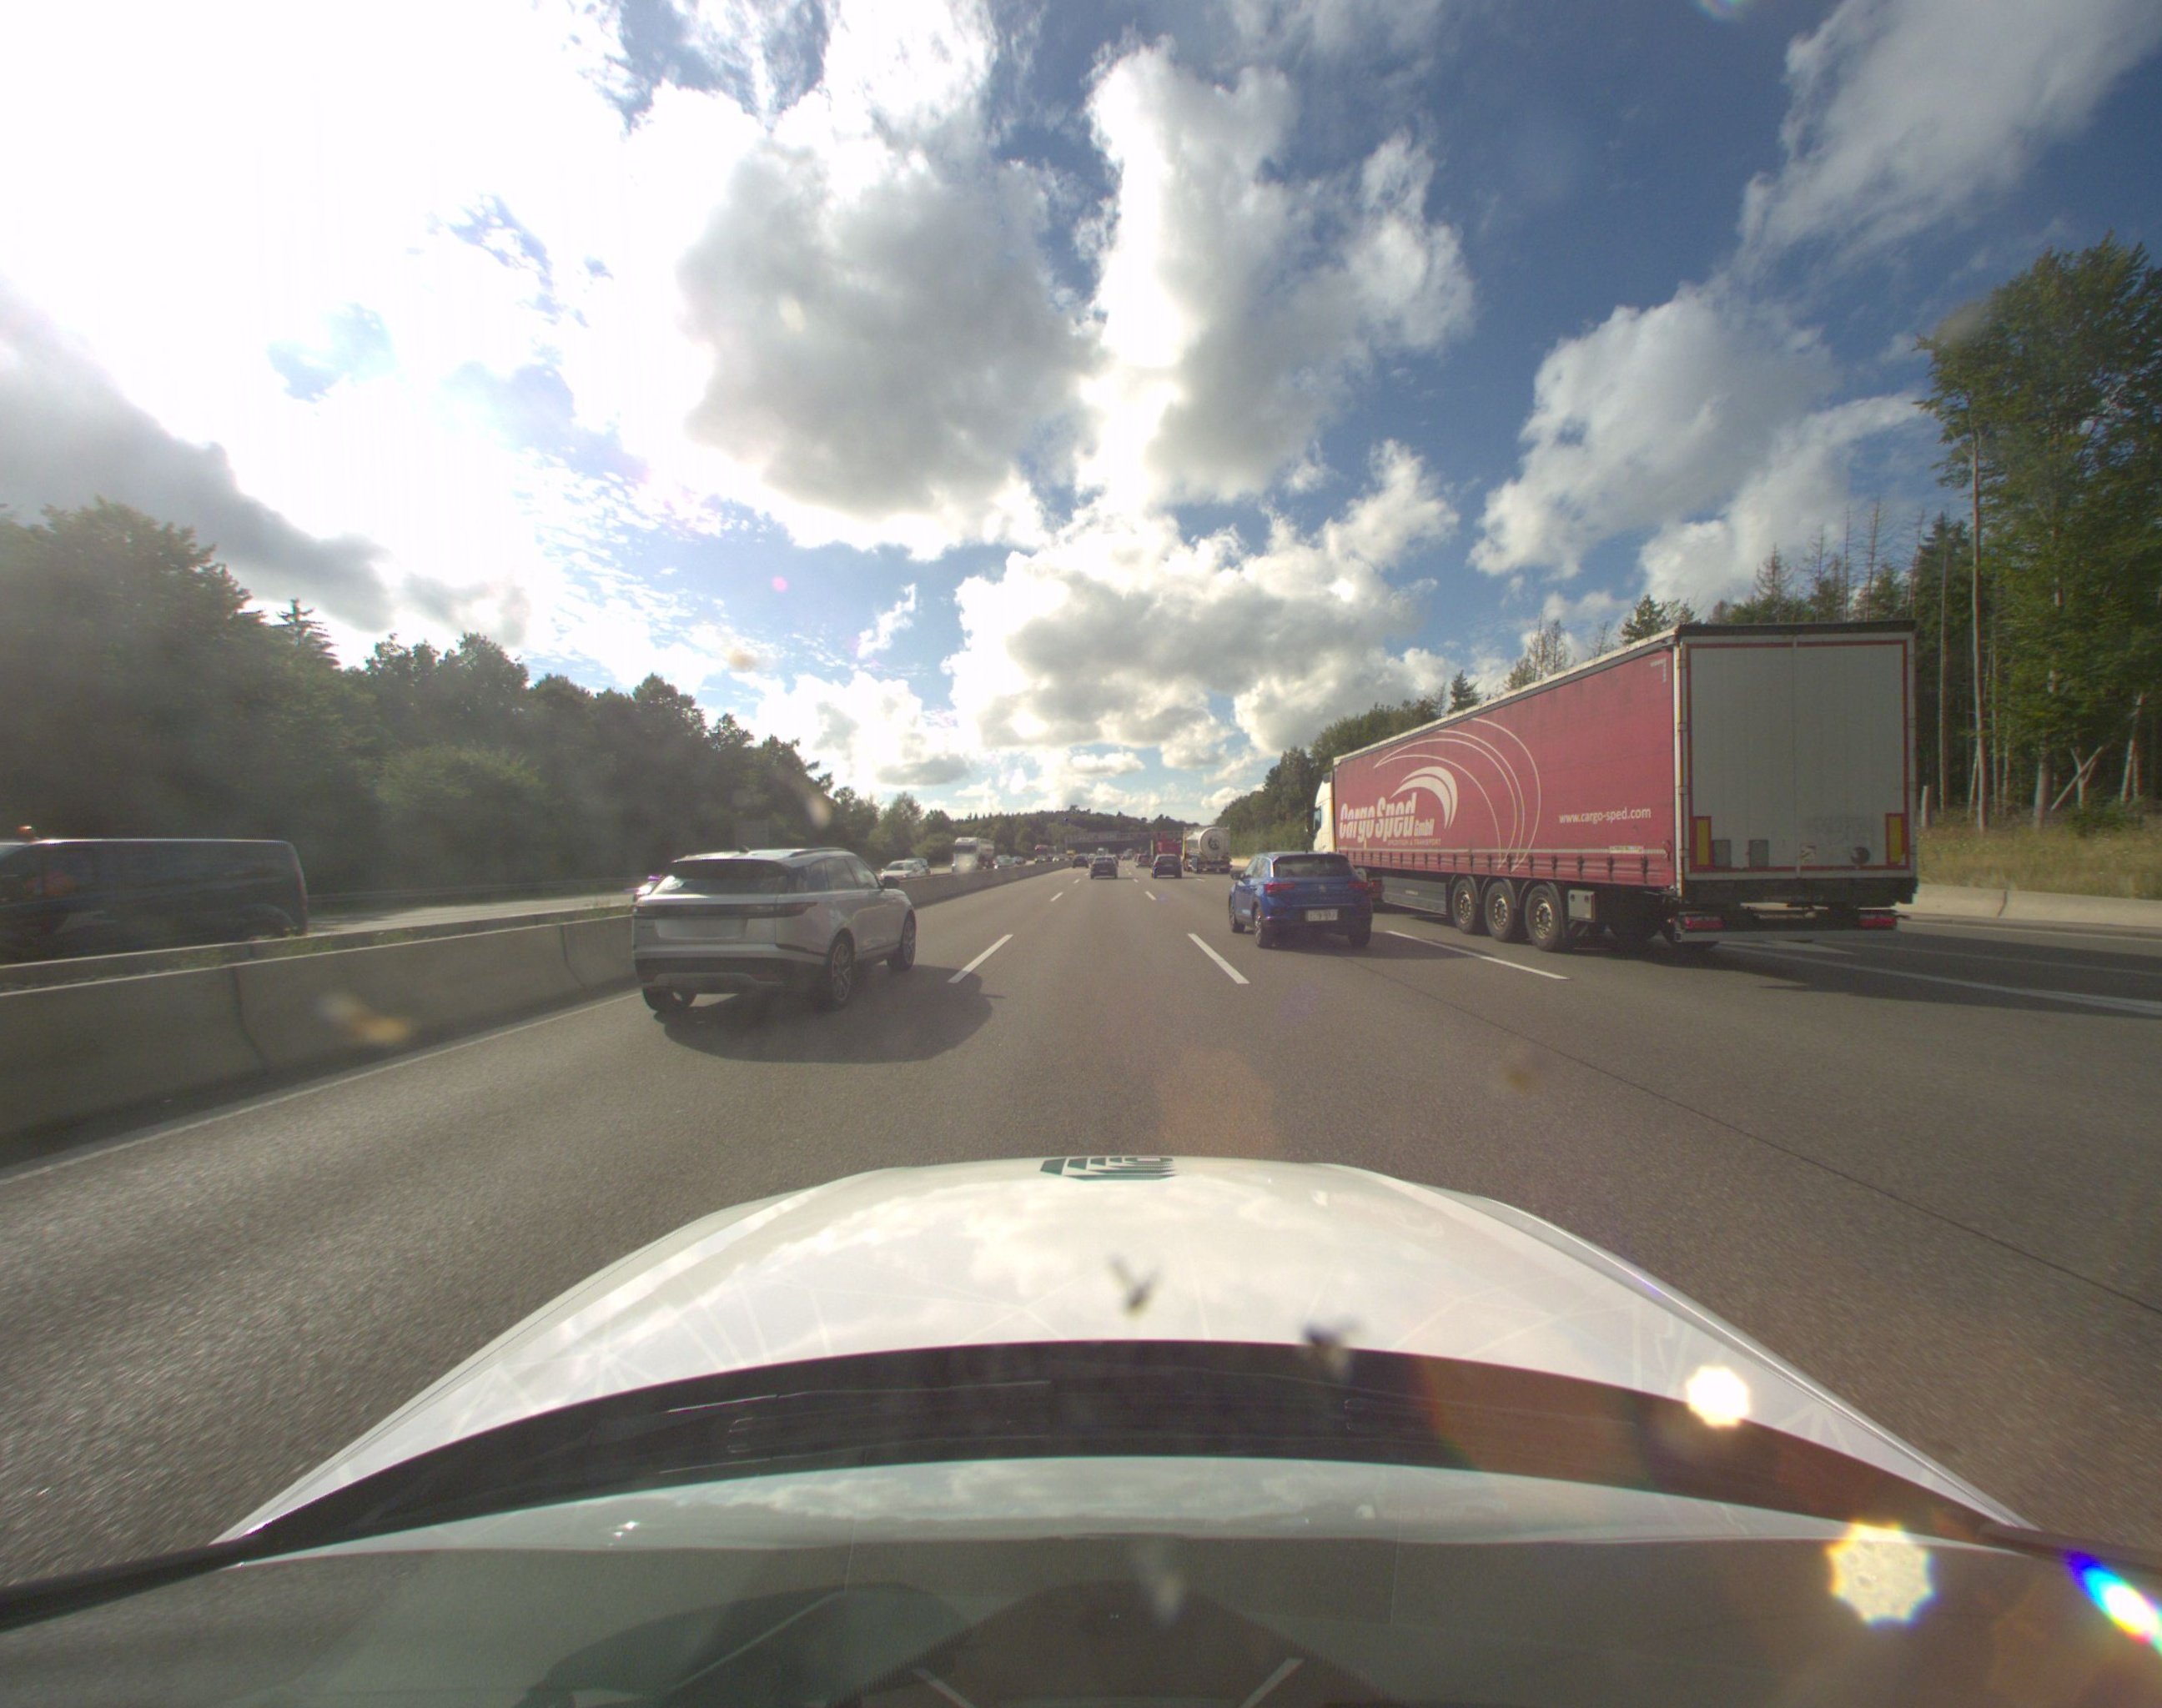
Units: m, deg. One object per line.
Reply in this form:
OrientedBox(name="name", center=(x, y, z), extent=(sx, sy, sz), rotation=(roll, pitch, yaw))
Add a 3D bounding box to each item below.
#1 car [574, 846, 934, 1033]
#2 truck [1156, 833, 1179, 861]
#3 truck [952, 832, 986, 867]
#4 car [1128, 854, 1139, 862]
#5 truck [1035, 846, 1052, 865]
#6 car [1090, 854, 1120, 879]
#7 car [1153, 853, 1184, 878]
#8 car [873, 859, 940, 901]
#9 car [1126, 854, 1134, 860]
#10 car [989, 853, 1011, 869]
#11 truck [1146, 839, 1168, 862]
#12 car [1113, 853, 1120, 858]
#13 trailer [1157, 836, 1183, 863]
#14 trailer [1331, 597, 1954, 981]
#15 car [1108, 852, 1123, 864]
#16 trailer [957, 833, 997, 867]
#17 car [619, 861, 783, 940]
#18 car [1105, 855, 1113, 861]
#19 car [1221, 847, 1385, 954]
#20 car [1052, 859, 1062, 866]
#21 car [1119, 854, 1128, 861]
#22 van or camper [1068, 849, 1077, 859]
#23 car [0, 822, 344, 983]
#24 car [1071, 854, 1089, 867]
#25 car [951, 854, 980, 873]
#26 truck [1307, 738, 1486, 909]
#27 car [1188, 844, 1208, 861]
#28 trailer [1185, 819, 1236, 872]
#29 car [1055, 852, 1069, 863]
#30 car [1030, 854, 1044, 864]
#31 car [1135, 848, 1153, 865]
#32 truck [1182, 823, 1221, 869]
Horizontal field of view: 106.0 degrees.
OrientedBox(name="car", center=(-3.333, 0.740, 9.749), extent=(1.999, 1.616, 5.303), rotation=(-1, 0, 2))
OrientedBox(name="truck", center=(11.763, -0.996, 111.182), extent=(2.699, 3.718, 5.822), rotation=(-1, 1, 3))
OrientedBox(name="truck", center=(-13.435, -0.525, 98.271), extent=(2.776, 3.945, 6.450), rotation=(-1, 0, 3))
OrientedBox(name="car", center=(10.887, 0.787, 169.505), extent=(1.935, 1.457, 4.001), rotation=(-2, 0, 1))
OrientedBox(name="truck", center=(-8.261, 0.321, 179.437), extent=(2.954, 3.858, 6.772), rotation=(-1, 0, 4))
OrientedBox(name="car", center=(1.565, 0.798, 52.867), extent=(1.815, 1.546, 4.001), rotation=(-1, 0, 2))
OrientedBox(name="car", center=(5.558, 0.705, 52.088), extent=(1.814, 1.457, 4.005), rotation=(-2, 0, 4))
OrientedBox(name="car", center=(-8.883, 1.277, 41.885), extent=(2.163, 1.878, 4.983), rotation=(-2, 0, 2))
OrientedBox(name="car", center=(13.542, 0.809, 225.853), extent=(2.069, 1.457, 4.001), rotation=(-2, 0, 1))
OrientedBox(name="car", center=(-9.421, 0.760, 95.059), extent=(1.848, 1.670, 5.214), rotation=(-2, 0, 2))
OrientedBox(name="truck", center=(13.456, -0.621, 144.353), extent=(3.106, 3.935, 10.416), rotation=(-2, 0, 2))
OrientedBox(name="car", center=(10.356, 0.440, 239.218), extent=(1.922, 1.457, 4.393), rotation=(-2, 0, 1))
OrientedBox(name="trailer", center=(11.538, -0.623, 106.550), extent=(2.699, 3.231, 9.740), rotation=(-1, 1, 3))
OrientedBox(name="trailer", center=(8.090, -0.707, 15.548), extent=(2.763, 4.045, 13.719), rotation=(-1, 0, 2))
OrientedBox(name="car", center=(4.402, 0.478, 104.443), extent=(1.814, 1.457, 4.004), rotation=(-2, 0, 4))
OrientedBox(name="trailer", center=(-13.106, -0.481, 103.783), extent=(2.776, 3.945, 12.262), rotation=(-1, 0, 3))
OrientedBox(name="car", center=(-9.246, 1.061, 20.263), extent=(1.905, 1.640, 4.244), rotation=(-2, 0, 2))
OrientedBox(name="car", center=(7.111, 1.045, 207.672), extent=(2.069, 1.457, 4.003), rotation=(-2, 0, 2))
OrientedBox(name="car", center=(3.661, 0.681, 14.272), extent=(1.766, 1.530, 4.459), rotation=(-2, 0, 2))
OrientedBox(name="car", center=(-5.091, 1.780, 174.167), extent=(1.596, 1.403, 4.005), rotation=(1, 0, 5))
OrientedBox(name="car", center=(10.658, 0.886, 202.744), extent=(2.069, 1.457, 4.001), rotation=(-2, 0, 1))
OrientedBox(name="van or camper", center=(-2.515, 0.046, 238.433), extent=(2.367, 2.891, 6.504), rotation=(-2, 0, -1))
OrientedBox(name="car", center=(-13.093, 0.576, 10.696), extent=(1.986, 1.805, 5.128), rotation=(-2, 0, 2))
OrientedBox(name="car", center=(-0.099, 0.816, 98.217), extent=(1.935, 1.457, 4.001), rotation=(-2, 0, 1))
OrientedBox(name="car", center=(-10.876, 0.878, 76.931), extent=(1.852, 1.619, 4.750), rotation=(-2, 0, 2))
OrientedBox(name="truck", center=(8.321, -0.732, 22.312), extent=(2.763, 4.045, 5.775), rotation=(-1, 0, 2))
OrientedBox(name="car", center=(13.580, -0.190, 94.975), extent=(1.886, 1.957, 4.103), rotation=(0, 0, 3))
OrientedBox(name="trailer", center=(10.154, -0.634, 65.068), extent=(2.638, 3.767, 11.867), rotation=(-2, 0, 2))
OrientedBox(name="car", center=(-3.404, 0.612, 145.964), extent=(2.147, 1.700, 5.353), rotation=(-2, 0, 2))
OrientedBox(name="car", center=(-7.748, 0.884, 144.566), extent=(1.986, 1.664, 4.689), rotation=(-2, 0, 2))
OrientedBox(name="car", center=(7.292, 0.273, 95.074), extent=(1.886, 1.856, 4.102), rotation=(0, 0, 2))
OrientedBox(name="truck", center=(10.411, -0.678, 70.858), extent=(2.638, 3.823, 6.085), rotation=(-2, 0, 2))
